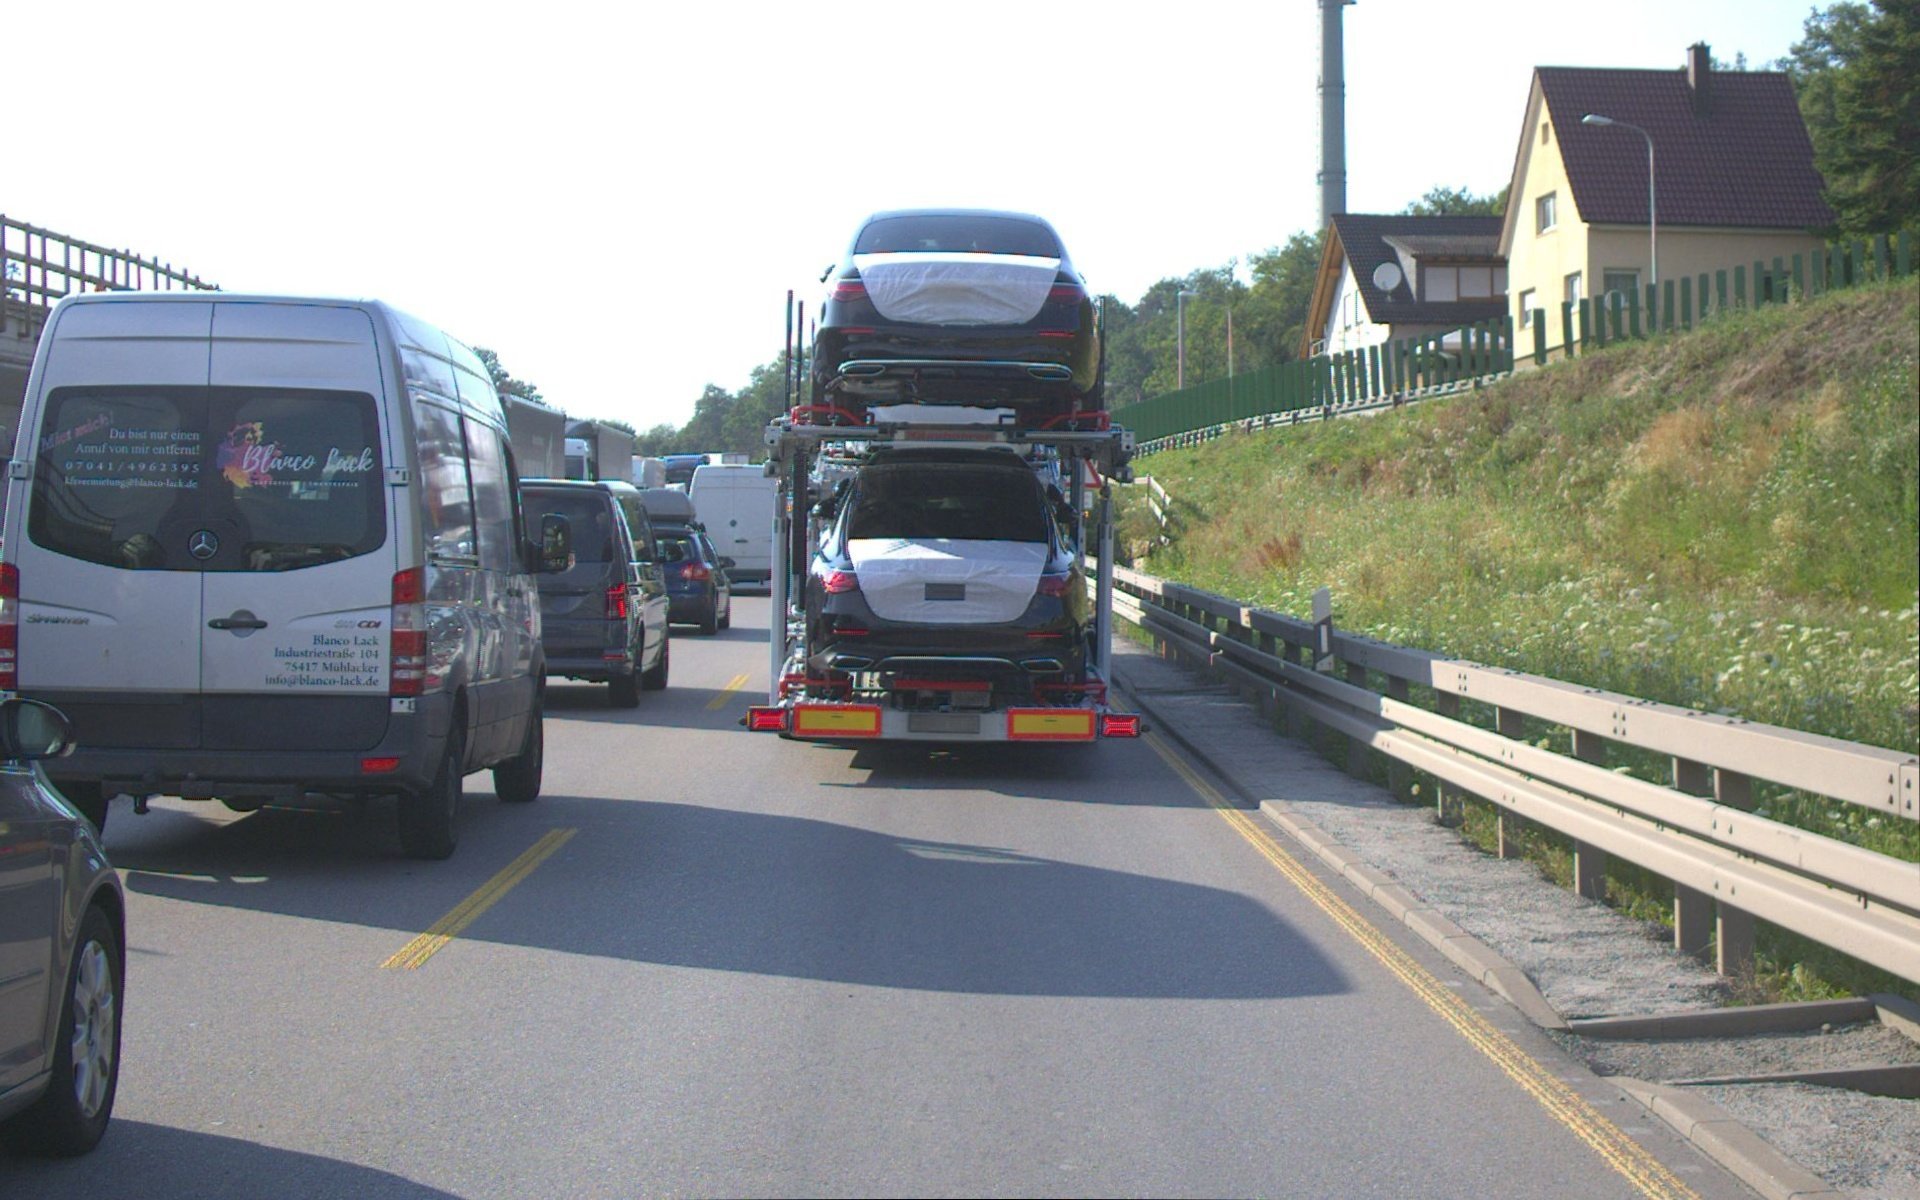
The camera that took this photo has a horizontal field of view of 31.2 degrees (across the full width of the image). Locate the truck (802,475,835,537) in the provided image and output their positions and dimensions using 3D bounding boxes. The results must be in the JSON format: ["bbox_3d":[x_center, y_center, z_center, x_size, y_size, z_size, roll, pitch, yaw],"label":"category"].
[{"bbox_3d":[-10.427,-6.875,252.717,2.197,4.411,8.233,0,1,-4],"label":"truck"}]

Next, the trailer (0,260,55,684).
[{"bbox_3d":[-10.441,-1.140,26.691,2.771,4.017,15.764,1,1,-1],"label":"trailer"}]

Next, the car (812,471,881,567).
[{"bbox_3d":[-6.228,-4.437,187.082,3.444,5.017,9.655,1,2,-3],"label":"car"}]

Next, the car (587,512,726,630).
[{"bbox_3d":[-4.202,-0.435,48.053,1.725,1.517,3.974,1,2,-2],"label":"car"}]

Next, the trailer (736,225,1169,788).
[{"bbox_3d":[-0.141,-0.731,29.436,2.682,3.522,15.290,1,1,-1],"label":"trailer"}]

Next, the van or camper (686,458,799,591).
[{"bbox_3d":[-4.402,-1.531,70.184,1.968,2.582,5.042,1,1,0],"label":"van or camper"}]

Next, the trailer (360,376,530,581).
[{"bbox_3d":[-10.898,-2.587,73.225,2.764,4.127,5.977,1,2,-1],"label":"trailer"}]

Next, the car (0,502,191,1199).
[{"bbox_3d":[-2.888,0.582,7.173,1.680,1.583,4.272,0,0,-1],"label":"car"}]

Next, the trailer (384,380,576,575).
[{"bbox_3d":[-11.087,-2.885,80.765,2.764,4.127,14.027,1,2,-1],"label":"trailer"}]

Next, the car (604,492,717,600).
[{"bbox_3d":[-7.192,-1.312,82.913,2.471,2.525,4.000,0,1,-1],"label":"car"}]

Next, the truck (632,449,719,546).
[{"bbox_3d":[-10.598,-3.789,128.640,2.714,3.412,8.142,-2,1,-2],"label":"truck"}]

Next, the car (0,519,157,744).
[{"bbox_3d":[-7.491,0.171,26.186,1.756,1.572,4.339,1,1,-1],"label":"car"}]

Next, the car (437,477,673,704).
[{"bbox_3d":[-3.609,-0.100,31.247,1.808,1.897,4.000,1,1,-2],"label":"car"}]

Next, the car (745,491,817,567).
[{"bbox_3d":[-5.022,-2.009,96.773,1.885,2.092,3.766,1,2,-1],"label":"car"}]

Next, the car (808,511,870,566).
[{"bbox_3d":[-4.119,-2.103,117.678,1.993,1.853,4.000,0,1,0],"label":"car"}]

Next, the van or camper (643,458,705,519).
[{"bbox_3d":[-12.765,-4.981,153.687,2.312,2.653,6.456,-1,2,-1],"label":"van or camper"}]

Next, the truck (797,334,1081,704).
[{"bbox_3d":[-0.246,-0.846,36.818,2.682,3.522,7.194,1,1,-1],"label":"truck"}]

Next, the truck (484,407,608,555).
[{"bbox_3d":[-11.672,-3.312,97.339,2.860,3.994,5.659,1,1,-1],"label":"truck"}]

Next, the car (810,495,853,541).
[{"bbox_3d":[-8.581,-5.435,229.232,2.770,2.982,5.598,1,1,-2],"label":"car"}]

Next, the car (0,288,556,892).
[{"bbox_3d":[-3.380,-0.131,17.816,1.993,2.639,5.531,0,2,-1],"label":"car"}]
